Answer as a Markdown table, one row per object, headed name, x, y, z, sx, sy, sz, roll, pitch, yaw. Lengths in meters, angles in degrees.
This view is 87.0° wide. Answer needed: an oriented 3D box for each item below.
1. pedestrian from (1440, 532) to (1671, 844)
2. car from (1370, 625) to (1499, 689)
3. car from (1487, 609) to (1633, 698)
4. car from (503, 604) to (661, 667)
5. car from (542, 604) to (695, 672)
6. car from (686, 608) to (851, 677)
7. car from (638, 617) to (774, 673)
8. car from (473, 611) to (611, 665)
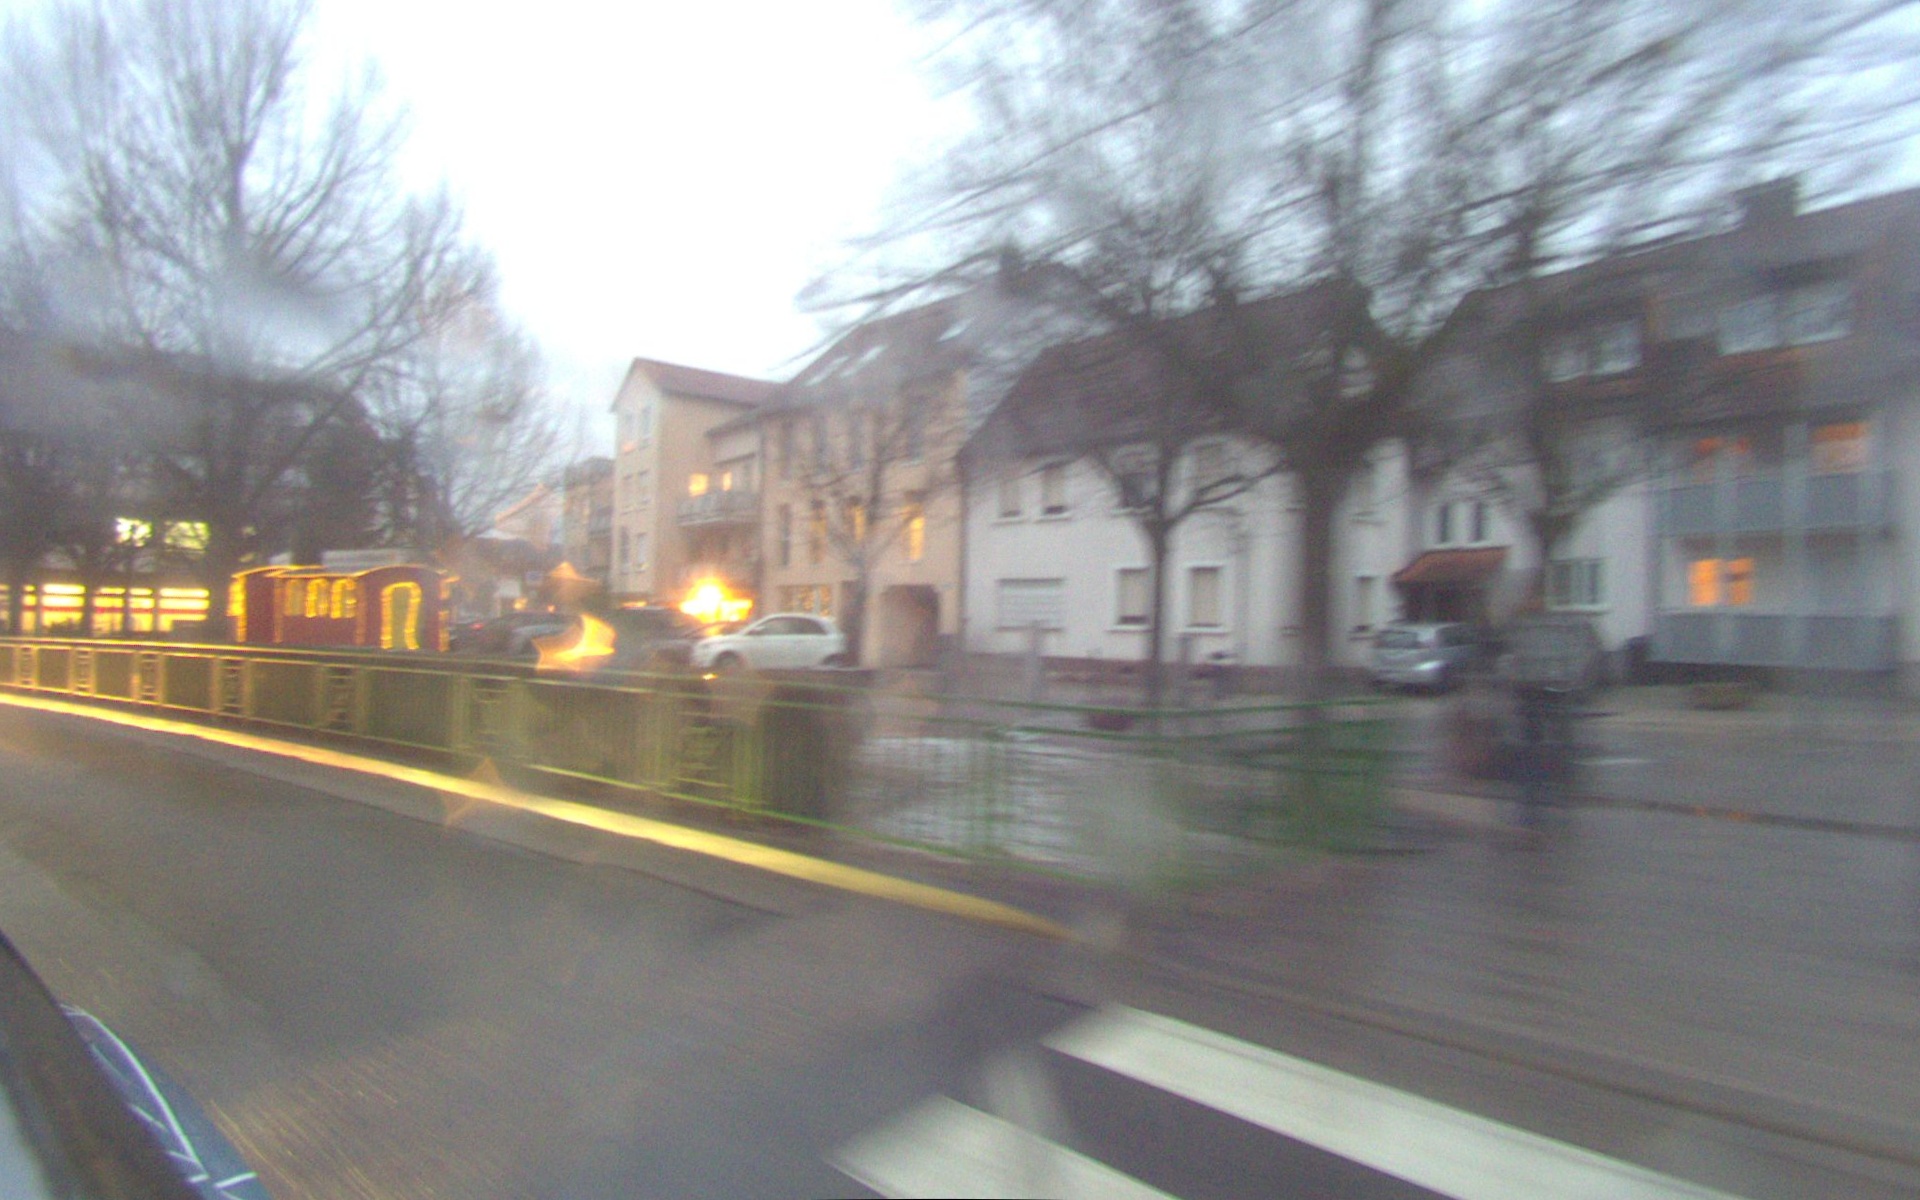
| name | x | y | z | sx | sy | sz | roll | pitch | yaw |
| --- | --- | --- | --- | --- | --- | --- | --- | --- | --- |
| pedestrian | 3.711 | 0.508 | 6.330 | 0.868 | 1.748 | 0.957 | 1 | -2 | -37 |
| car | 10.948 | 1.266 | 23.284 | 3.007 | 1.135 | 1.531 | -5 | 2 | -40 |
| car | 12.660 | 1.049 | 21.273 | 3.556 | 1.624 | 1.715 | -1 | 0 | -43 |
| car | -10.503 | 0.977 | 28.169 | 3.931 | 1.645 | 1.640 | 1 | -2 | -28 |
| car | -8.635 | 0.927 | 25.722 | 3.572 | 1.624 | 1.615 | 0 | -1 | -19 |
| car | -4.251 | 0.897 | 22.345 | 3.426 | 1.420 | 1.615 | 0 | -1 | -17 |
| car | -6.100 | 1.038 | 24.217 | 3.003 | 1.229 | 1.615 | 0 | -1 | -19 |
| car | -13.222 | 1.205 | 32.143 | 3.930 | 1.645 | 1.640 | 1 | -2 | -23 |
